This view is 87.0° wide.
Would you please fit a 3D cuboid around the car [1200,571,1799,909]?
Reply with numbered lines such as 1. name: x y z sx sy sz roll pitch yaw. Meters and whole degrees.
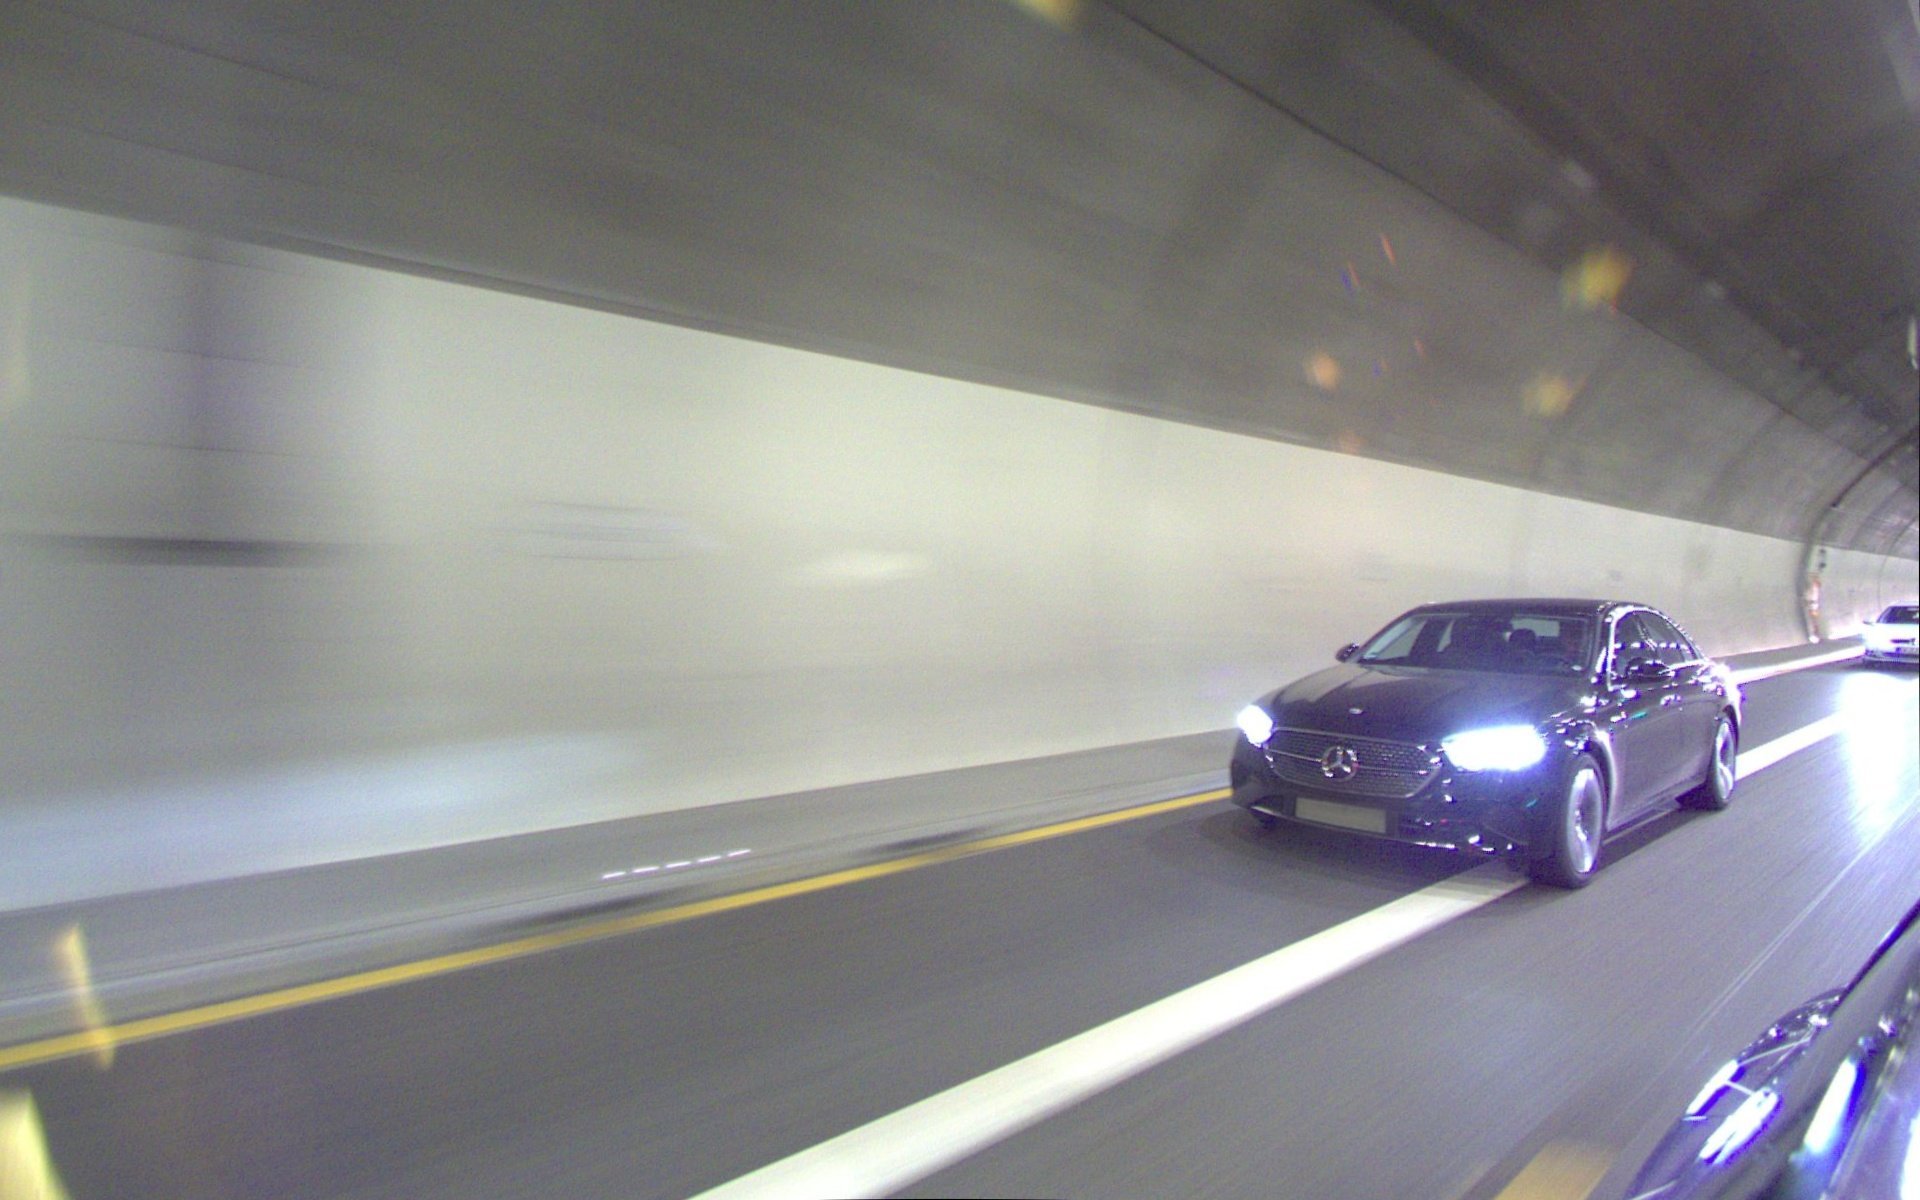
1. car: 3.935 0.601 6.922 4.867 1.490 1.930 0 3 -40

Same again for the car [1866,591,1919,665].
1. car: 21.105 0.585 21.752 3.961 1.479 1.802 0 2 -39
